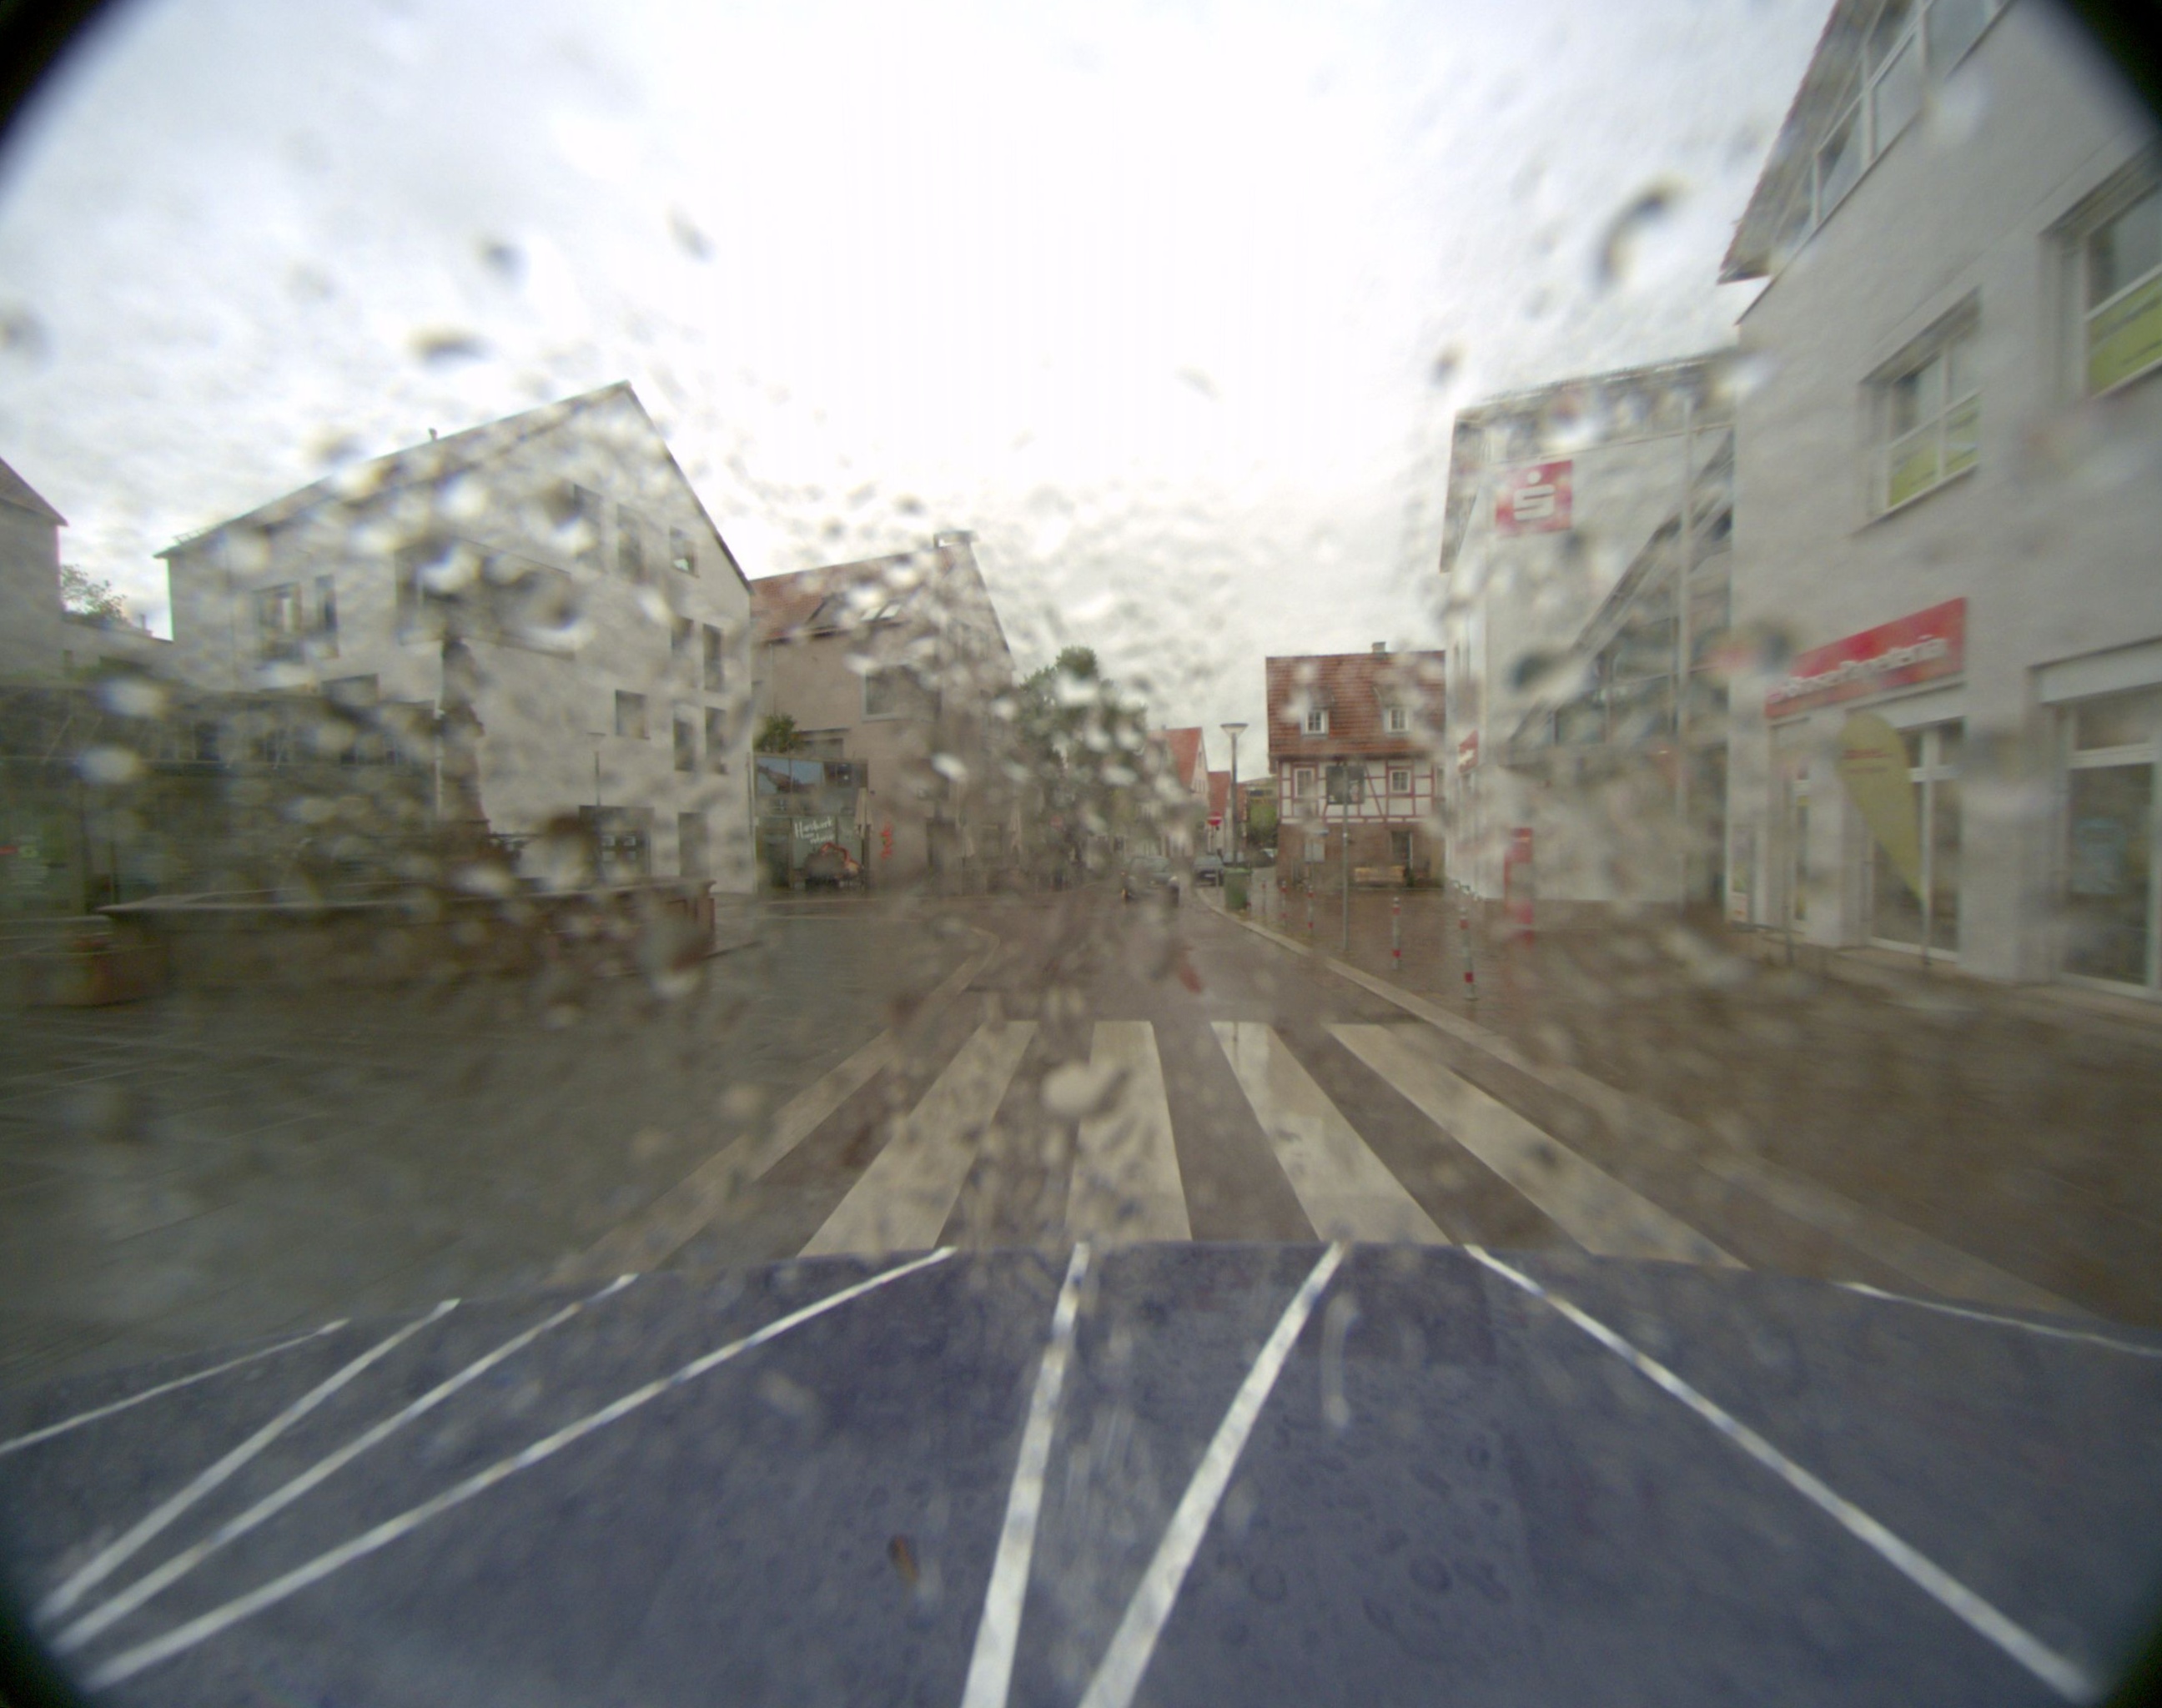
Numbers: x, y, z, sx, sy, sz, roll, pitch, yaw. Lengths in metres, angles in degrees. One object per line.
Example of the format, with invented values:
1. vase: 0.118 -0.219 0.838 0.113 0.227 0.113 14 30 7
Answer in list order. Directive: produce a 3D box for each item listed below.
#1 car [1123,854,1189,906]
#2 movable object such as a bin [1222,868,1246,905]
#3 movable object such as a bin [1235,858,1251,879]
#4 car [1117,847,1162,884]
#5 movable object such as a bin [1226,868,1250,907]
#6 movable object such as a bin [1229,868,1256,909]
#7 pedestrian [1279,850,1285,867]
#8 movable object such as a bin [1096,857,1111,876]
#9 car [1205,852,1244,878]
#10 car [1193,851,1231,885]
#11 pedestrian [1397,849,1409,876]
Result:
1. car: 2.509 0.760 24.619 1.735 1.546 3.848 0 0 11
2. movable object such as a bin: 4.566 0.956 22.666 0.659 1.076 0.553 0 1 8
3. movable object such as a bin: 8.832 0.783 41.518 0.834 1.105 0.920 0 1 10
4. car: 3.008 0.530 38.326 1.997 1.740 4.002 0 1 8
5. movable object such as a bin: 4.545 0.958 22.045 0.659 1.108 0.553 0 1 8
6. movable object such as a bin: 4.479 0.957 21.113 0.660 1.090 0.613 0 1 6
7. pedestrian: 15.766 0.369 59.658 0.454 1.300 0.518 0 2 18
8. movable object such as a bin: 1.298 0.736 43.930 0.764 1.068 0.538 0 1 12
9. car: 9.522 0.681 50.205 1.996 1.520 4.005 -3 0 17
10. car: 6.506 0.667 38.045 1.693 1.477 4.002 -2 1 7
11. pedestrian: 13.757 0.362 32.492 0.411 1.148 0.425 0 1 11
